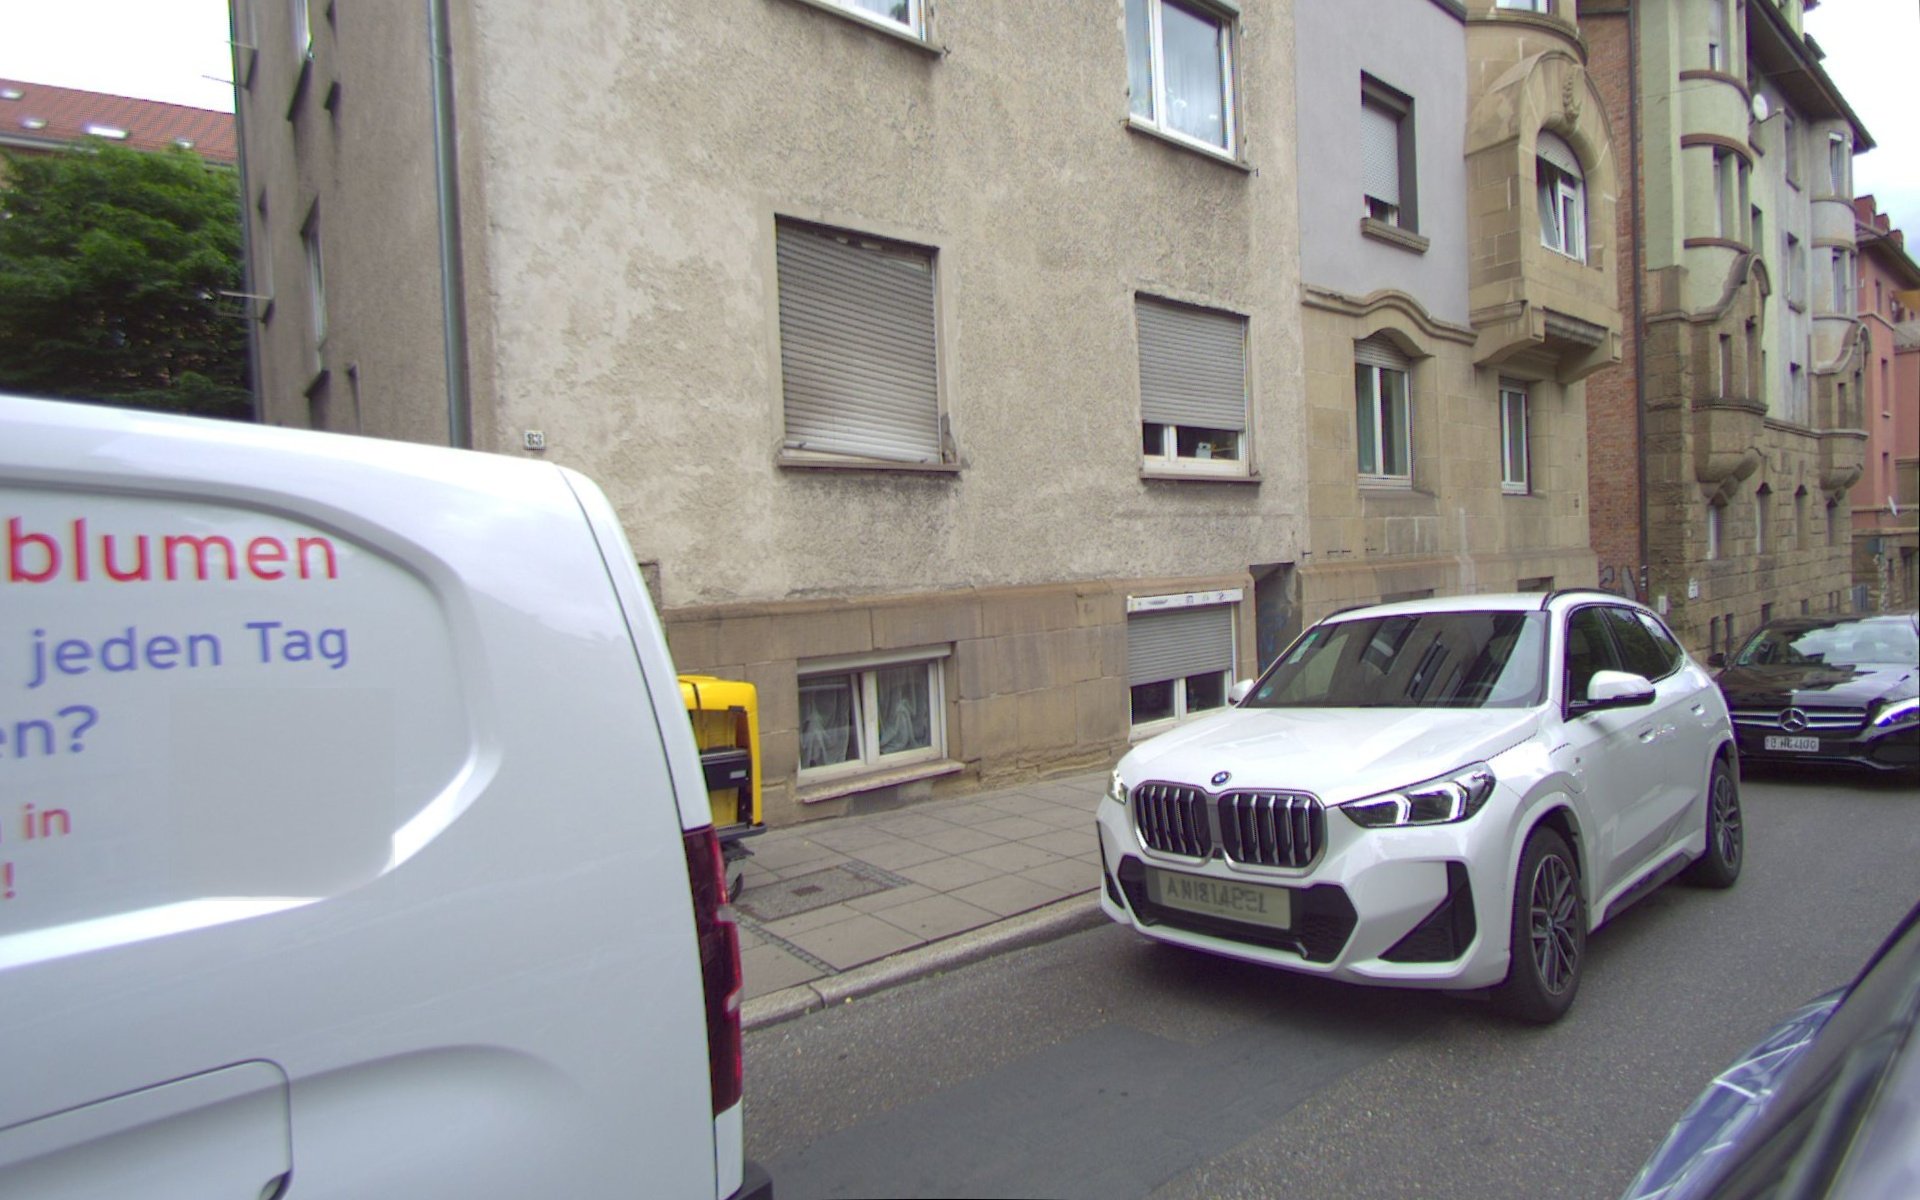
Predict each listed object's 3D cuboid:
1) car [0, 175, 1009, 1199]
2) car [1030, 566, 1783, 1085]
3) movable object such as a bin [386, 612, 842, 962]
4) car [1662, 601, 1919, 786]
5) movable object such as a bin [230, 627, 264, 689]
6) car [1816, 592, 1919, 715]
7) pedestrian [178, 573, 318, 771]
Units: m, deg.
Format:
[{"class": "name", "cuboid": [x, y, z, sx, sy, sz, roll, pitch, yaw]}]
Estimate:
[{"class": "car", "cuboid": [-2.286, 0.569, 0.922, 4.597, 1.798, 1.977, -1, -3, -42]}, {"class": "car", "cuboid": [2.558, 0.725, 5.228, 4.276, 1.576, 1.857, -1, -4, -42]}, {"class": "movable object such as a bin", "cuboid": [-1.788, 0.798, 5.372, 1.979, 1.391, 1.223, -1, 2, -43]}, {"class": "car", "cuboid": [8.484, 0.751, 9.666, 4.133, 1.395, 1.882, -1, -3, -41]}, {"class": "movable object such as a bin", "cuboid": [-10.981, 0.888, 15.593, 0.405, 0.923, 0.340, 0, 0, -40]}, {"class": "car", "cuboid": [13.563, 0.642, 13.926, 4.226, 1.534, 1.935, -1, -3, -40]}, {"class": "pedestrian", "cuboid": [-6.592, 0.622, 9.378, 0.808, 1.666, 0.773, 0, 6, 42]}]
